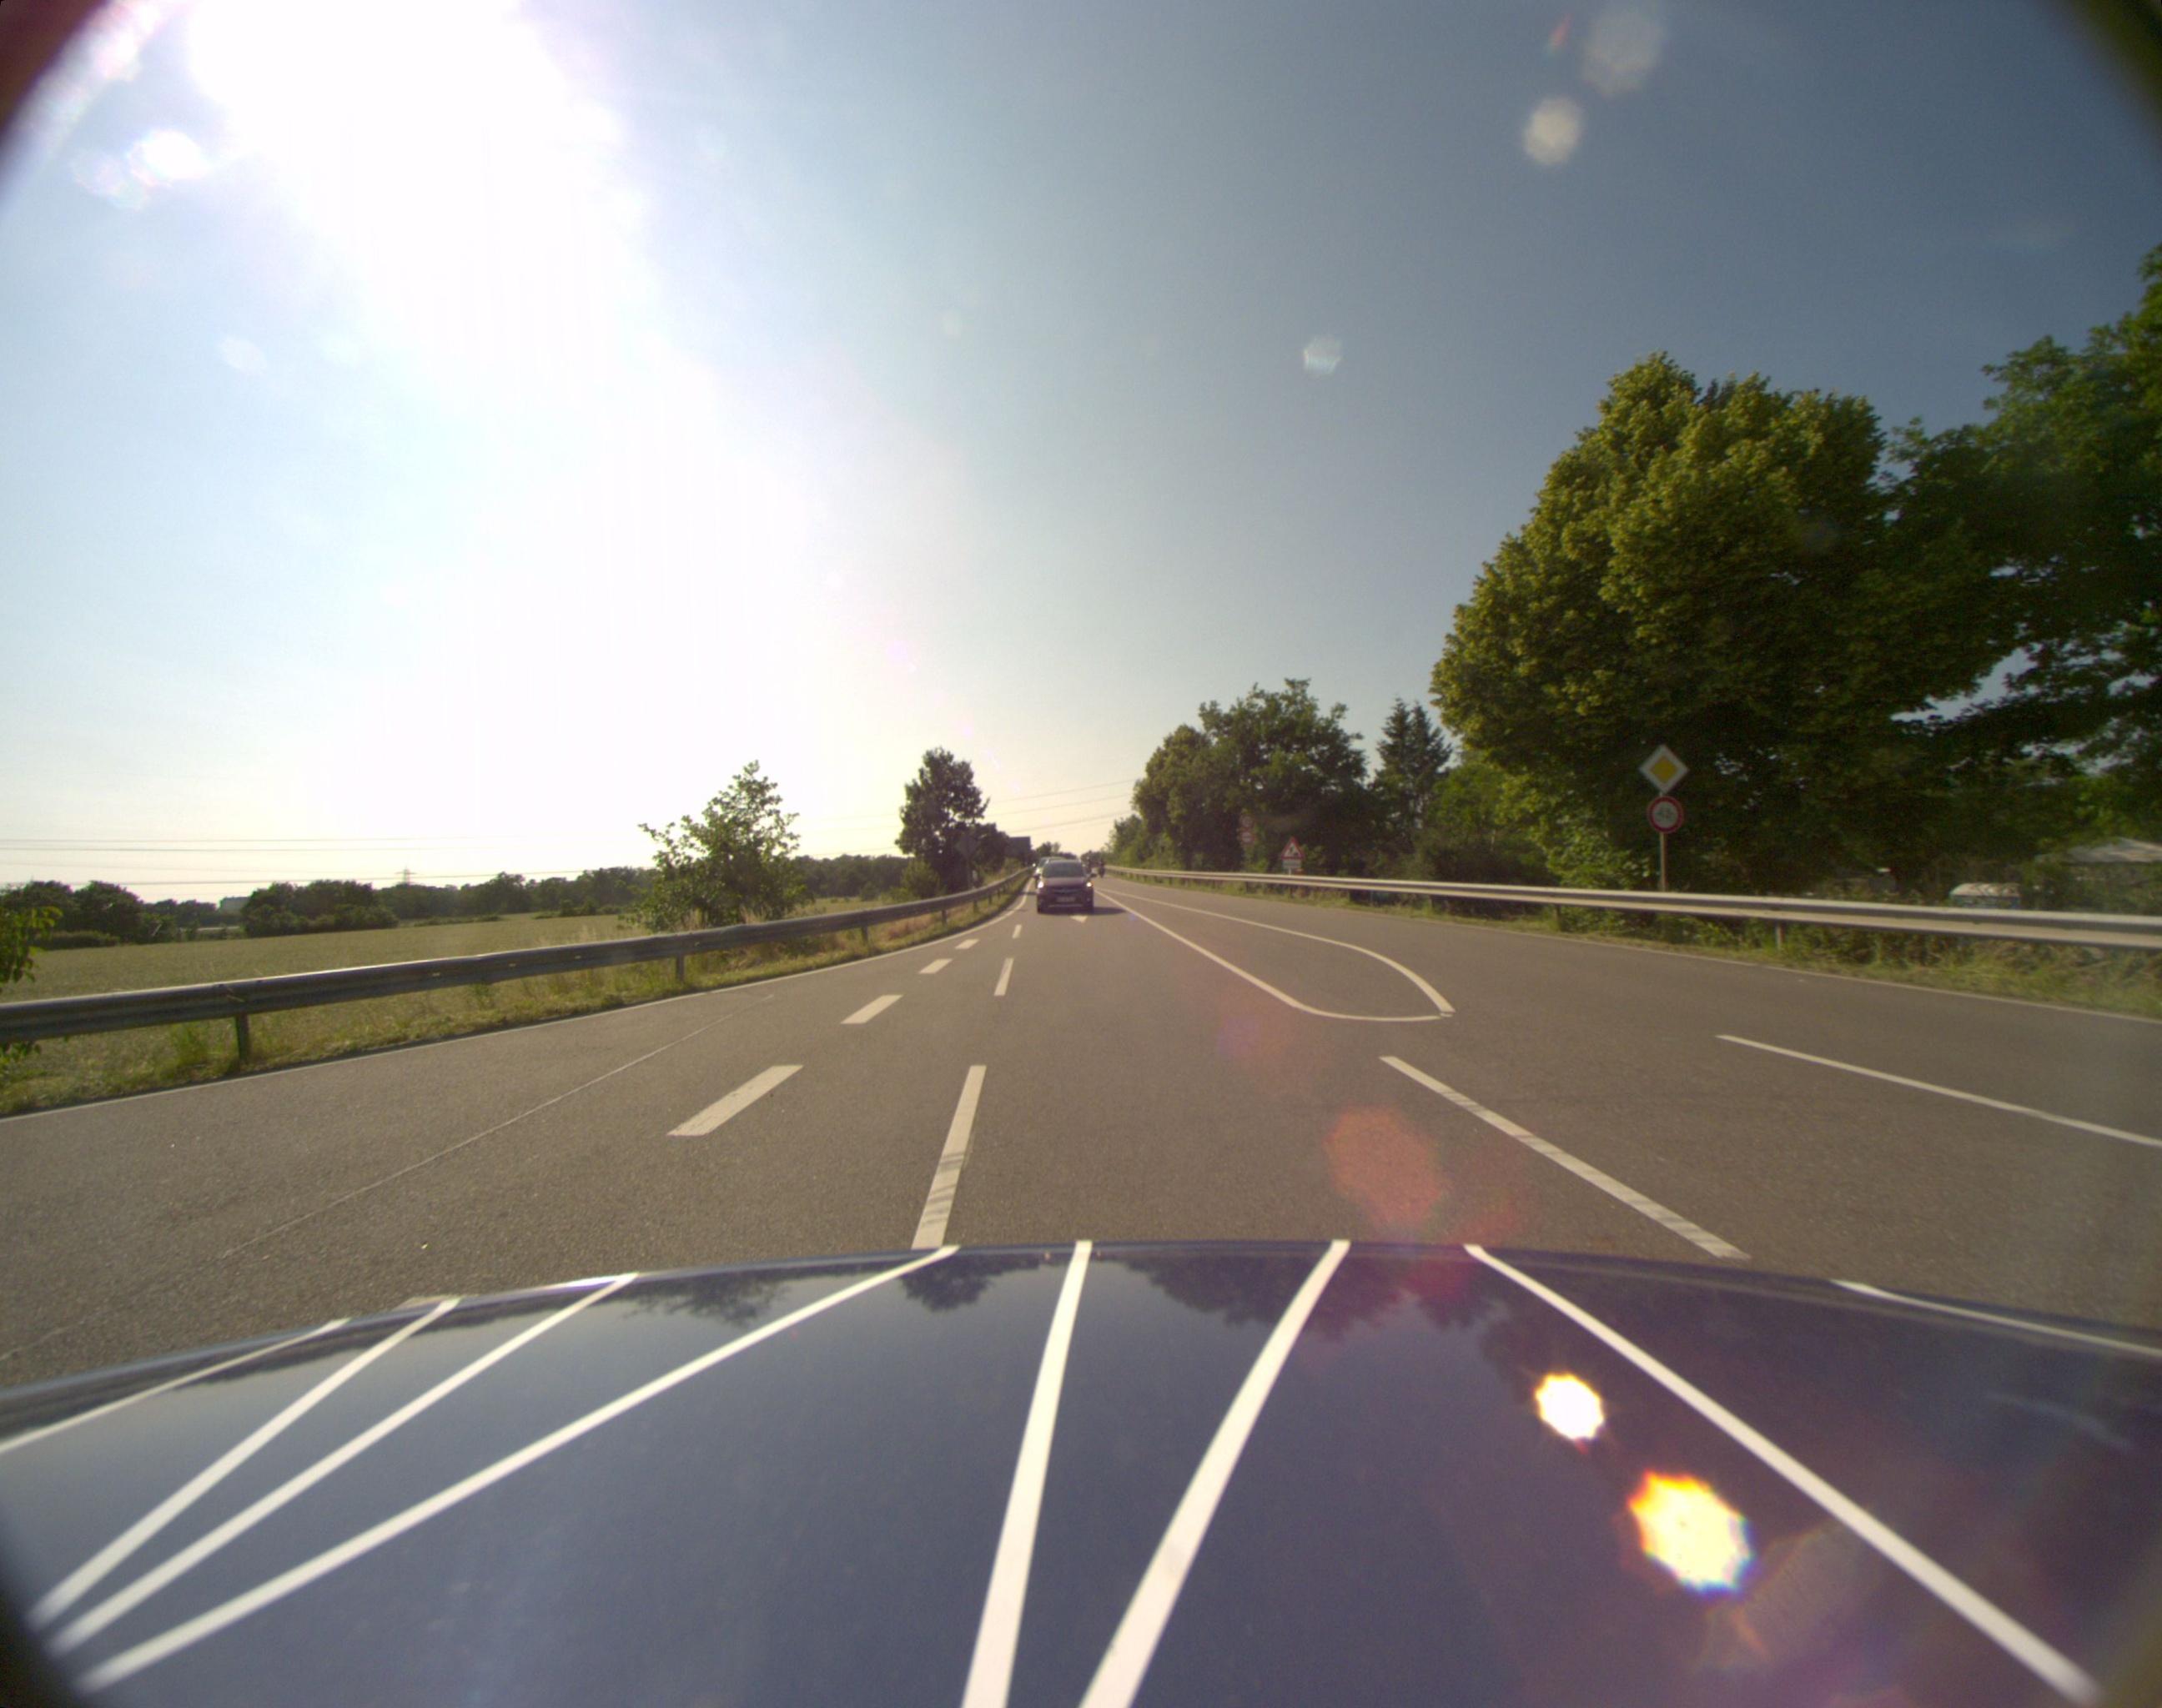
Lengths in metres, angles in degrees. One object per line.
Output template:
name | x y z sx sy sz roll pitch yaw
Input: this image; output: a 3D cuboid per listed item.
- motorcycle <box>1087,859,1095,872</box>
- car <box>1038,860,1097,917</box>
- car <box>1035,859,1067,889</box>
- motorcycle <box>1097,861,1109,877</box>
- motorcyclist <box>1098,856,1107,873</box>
motorcycle | 1.042 1.153 77.635 0.719 1.243 2.078 0 0 2
car | -0.360 0.960 22.767 1.607 1.486 4.000 -1 0 0
car | -1.557 1.019 40.961 1.607 1.486 3.999 -1 0 -1
motorcycle | 1.808 1.217 62.984 0.719 1.301 2.180 0 0 -4
motorcyclist | 1.792 0.892 63.043 0.701 1.399 0.979 0 0 -4
